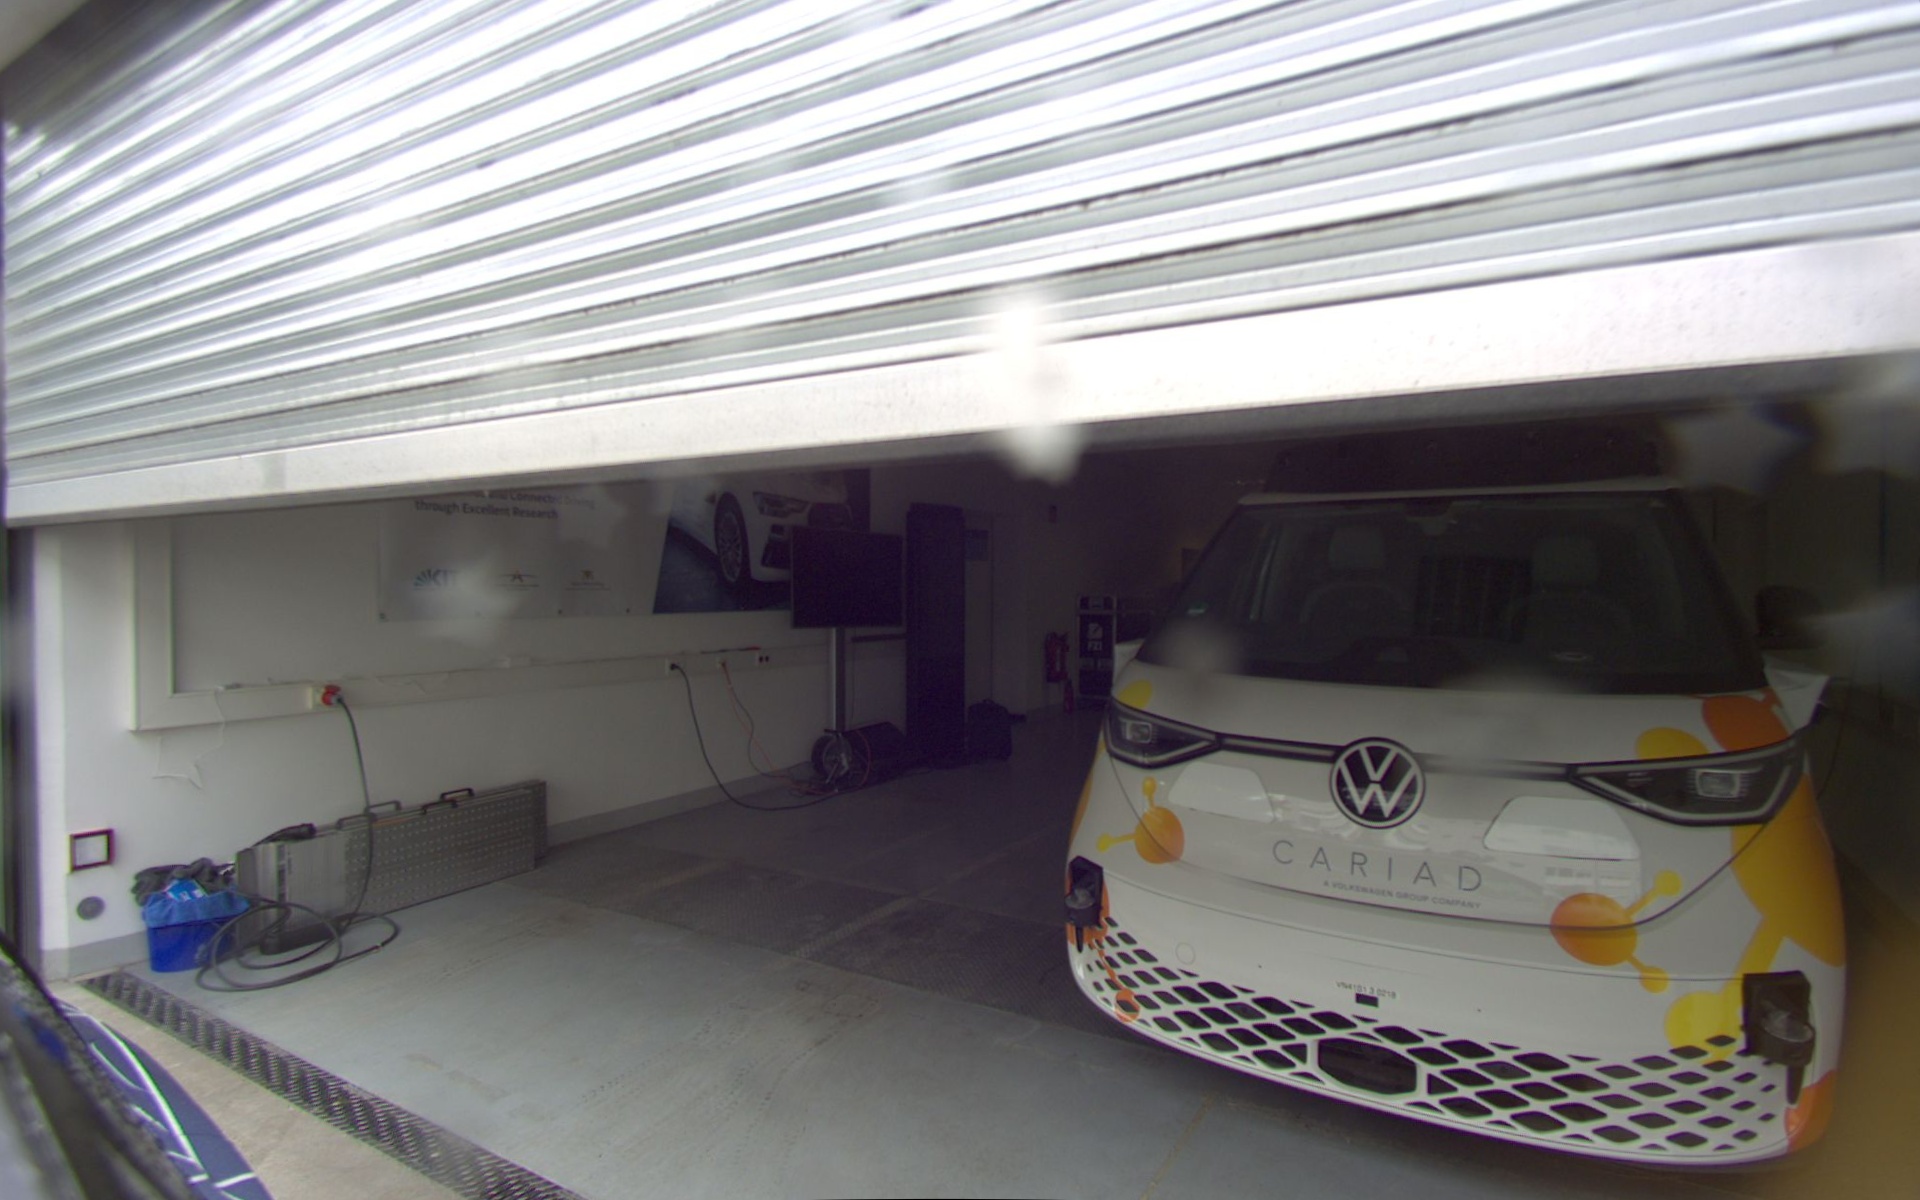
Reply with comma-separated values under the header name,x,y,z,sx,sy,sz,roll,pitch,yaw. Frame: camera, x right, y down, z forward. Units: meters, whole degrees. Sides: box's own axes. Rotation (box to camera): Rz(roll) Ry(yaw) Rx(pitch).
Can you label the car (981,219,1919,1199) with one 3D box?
name,x,y,z,sx,sy,sz,roll,pitch,yaw
car,2.126,0.281,4.253,2.077,2.028,4.657,0,2,31
